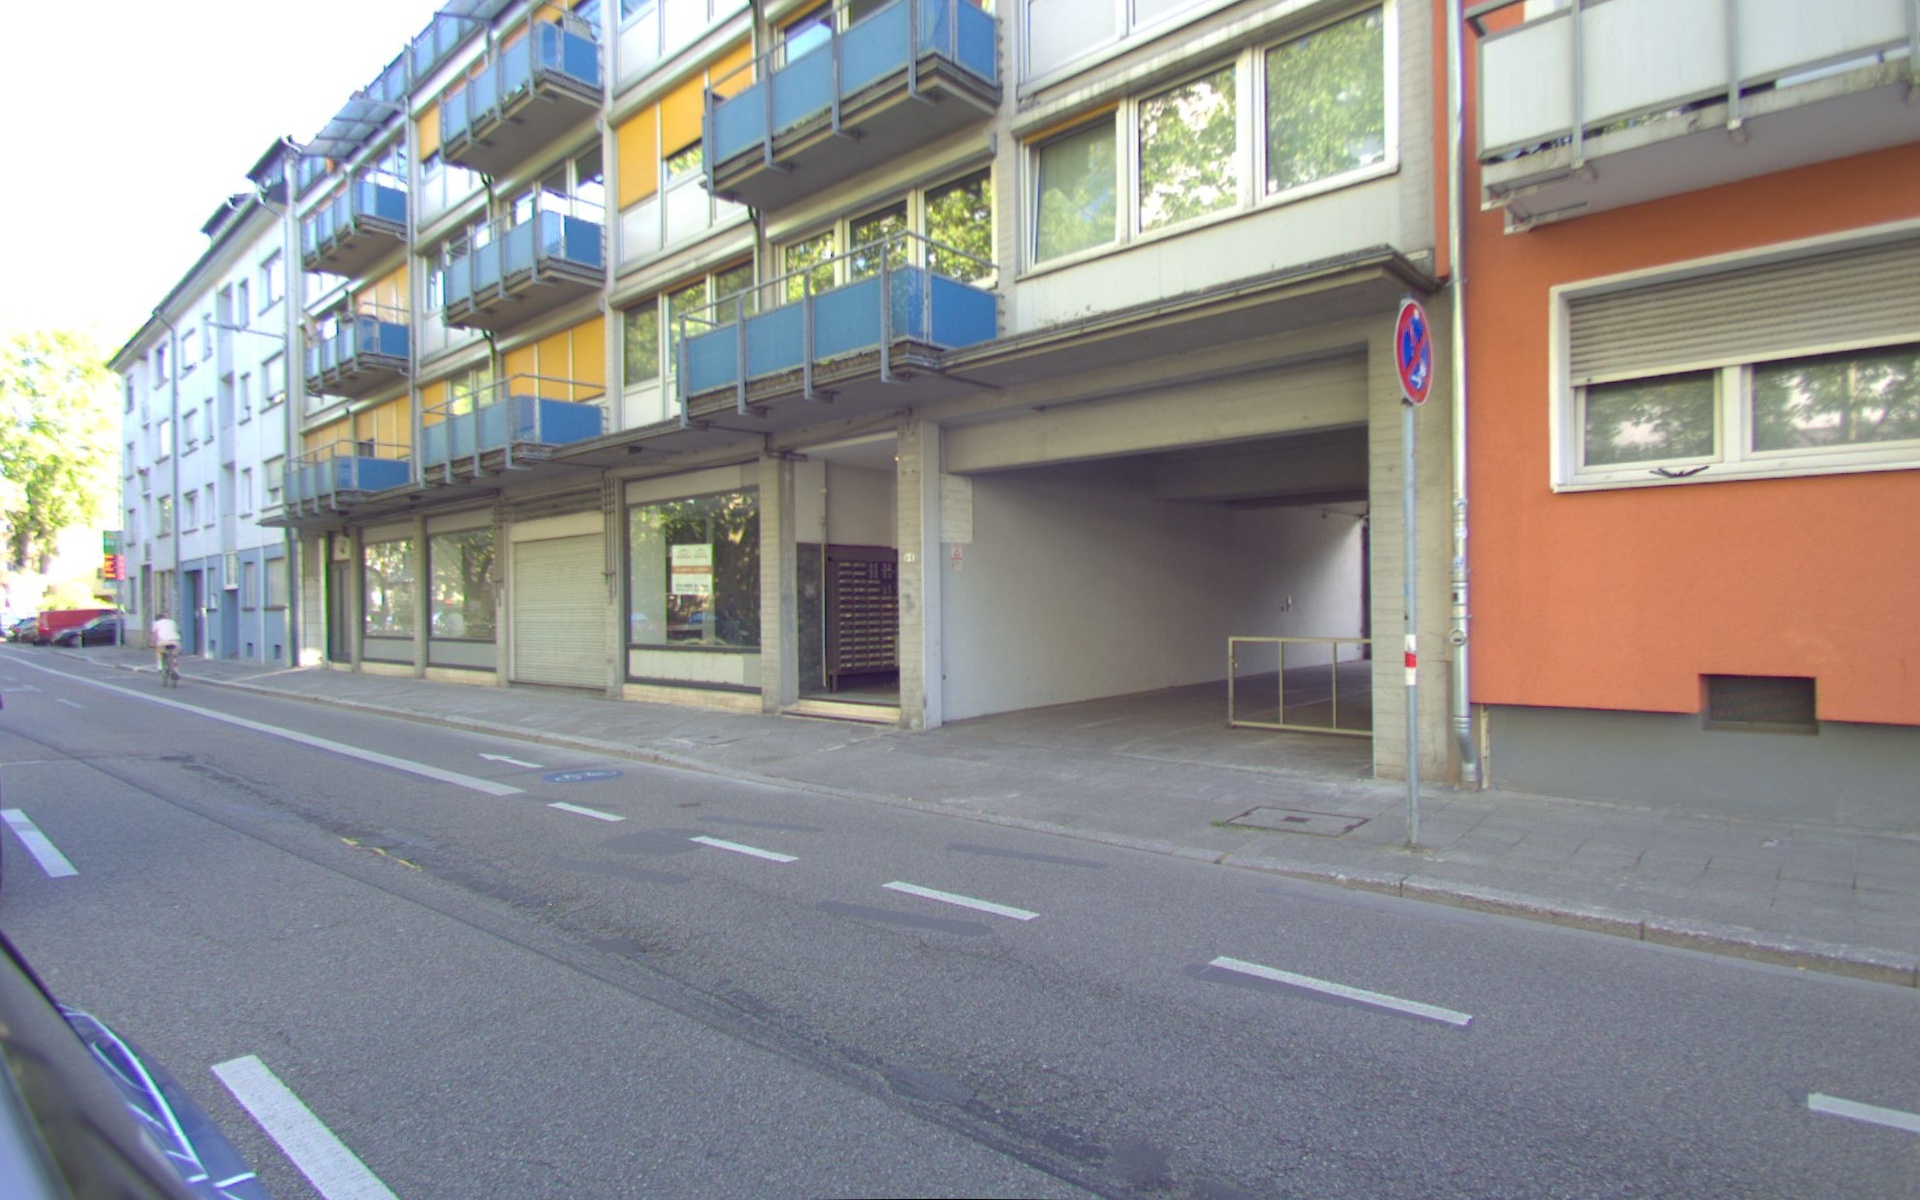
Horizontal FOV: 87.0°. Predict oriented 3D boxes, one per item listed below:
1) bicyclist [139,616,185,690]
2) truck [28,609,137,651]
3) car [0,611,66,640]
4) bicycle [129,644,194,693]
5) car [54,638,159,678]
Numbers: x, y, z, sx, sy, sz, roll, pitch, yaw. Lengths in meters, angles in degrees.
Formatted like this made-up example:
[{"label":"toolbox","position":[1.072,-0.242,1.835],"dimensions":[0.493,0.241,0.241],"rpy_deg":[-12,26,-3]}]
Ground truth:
[{"label":"bicyclist","position":[-18.136,1.190,23.010],"dimensions":[0.758,1.643,0.683],"rpy_deg":[-1,-1,41]},{"label":"truck","position":[-48.537,1.624,56.056],"dimensions":[1.876,2.174,4.348],"rpy_deg":[-1,0,40]},{"label":"car","position":[-67.272,1.810,72.955],"dimensions":[1.999,2.029,3.947],"rpy_deg":[-1,0,40]},{"label":"bicycle","position":[-18.216,1.527,23.061],"dimensions":[2.631,0.994,0.683],"rpy_deg":[-1,-1,41]},{"label":"car","position":[-44.422,2.988,52.702],"dimensions":[1.830,1.849,3.946],"rpy_deg":[-1,0,40]}]
